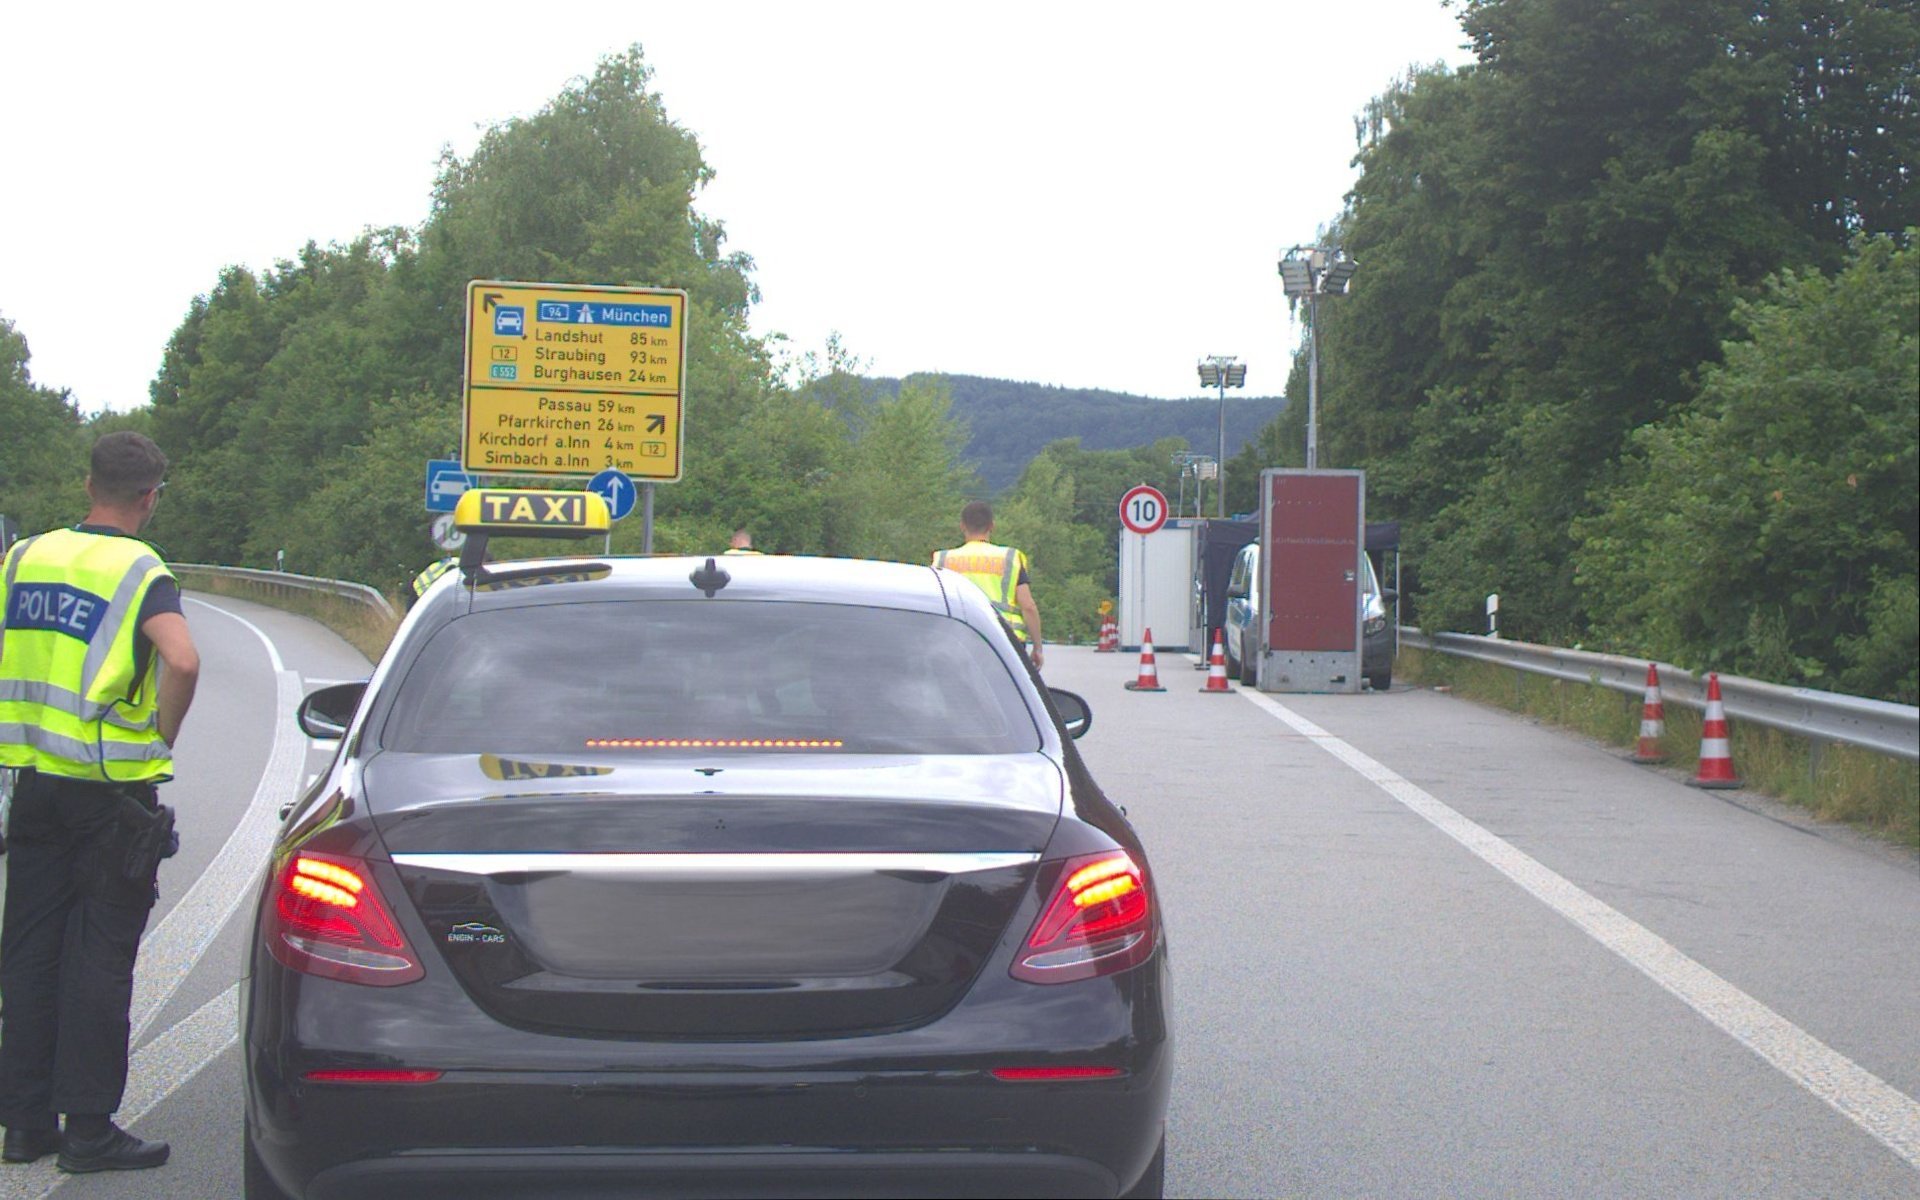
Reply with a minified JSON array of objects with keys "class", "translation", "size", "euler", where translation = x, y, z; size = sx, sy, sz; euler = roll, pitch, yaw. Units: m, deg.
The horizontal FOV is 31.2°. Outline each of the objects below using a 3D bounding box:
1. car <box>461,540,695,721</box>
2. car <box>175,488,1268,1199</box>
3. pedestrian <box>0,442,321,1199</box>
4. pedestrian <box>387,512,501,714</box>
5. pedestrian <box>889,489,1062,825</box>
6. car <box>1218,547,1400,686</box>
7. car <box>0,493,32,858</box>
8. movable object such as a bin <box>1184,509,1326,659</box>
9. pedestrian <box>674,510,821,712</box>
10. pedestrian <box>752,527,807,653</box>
[{"class":"car","translation":[-3.350,0.219,30.774],"size":[1.855,1.493,4.257],"euler":[0,1,-3]},{"class":"car","translation":[-0.596,0.574,8.050],"size":[1.855,1.589,4.376],"euler":[0,1,-5]},{"class":"pedestrian","translation":[-2.060,0.505,8.040],"size":[0.761,1.712,0.816],"euler":[1,1,37]},{"class":"pedestrian","translation":[-4.590,0.105,30.627],"size":[0.910,1.763,0.912],"euler":[1,1,-3]},{"class":"pedestrian","translation":[0.094,0.303,19.138],"size":[0.813,1.824,0.809],"euler":[0,1,12]},{"class":"car","translation":[4.586,0.164,45.788],"size":[1.916,1.672,5.083],"euler":[2,1,1]},{"class":"car","translation":[-5.398,0.376,15.037],"size":[1.868,1.737,4.009],"euler":[0,1,-4]},{"class":"movable object such as a bin","translation":[4.646,-0.270,54.627],"size":[1.993,2.272,4.168],"euler":[1,1,2]},{"class":"pedestrian","translation":[-1.816,0.087,29.351],"size":[0.908,1.692,0.914],"euler":[0,0,-32]},{"class":"pedestrian","translation":[-2.840,-0.161,54.131],"size":[0.664,1.954,0.759],"euler":[0,1,15]}]
